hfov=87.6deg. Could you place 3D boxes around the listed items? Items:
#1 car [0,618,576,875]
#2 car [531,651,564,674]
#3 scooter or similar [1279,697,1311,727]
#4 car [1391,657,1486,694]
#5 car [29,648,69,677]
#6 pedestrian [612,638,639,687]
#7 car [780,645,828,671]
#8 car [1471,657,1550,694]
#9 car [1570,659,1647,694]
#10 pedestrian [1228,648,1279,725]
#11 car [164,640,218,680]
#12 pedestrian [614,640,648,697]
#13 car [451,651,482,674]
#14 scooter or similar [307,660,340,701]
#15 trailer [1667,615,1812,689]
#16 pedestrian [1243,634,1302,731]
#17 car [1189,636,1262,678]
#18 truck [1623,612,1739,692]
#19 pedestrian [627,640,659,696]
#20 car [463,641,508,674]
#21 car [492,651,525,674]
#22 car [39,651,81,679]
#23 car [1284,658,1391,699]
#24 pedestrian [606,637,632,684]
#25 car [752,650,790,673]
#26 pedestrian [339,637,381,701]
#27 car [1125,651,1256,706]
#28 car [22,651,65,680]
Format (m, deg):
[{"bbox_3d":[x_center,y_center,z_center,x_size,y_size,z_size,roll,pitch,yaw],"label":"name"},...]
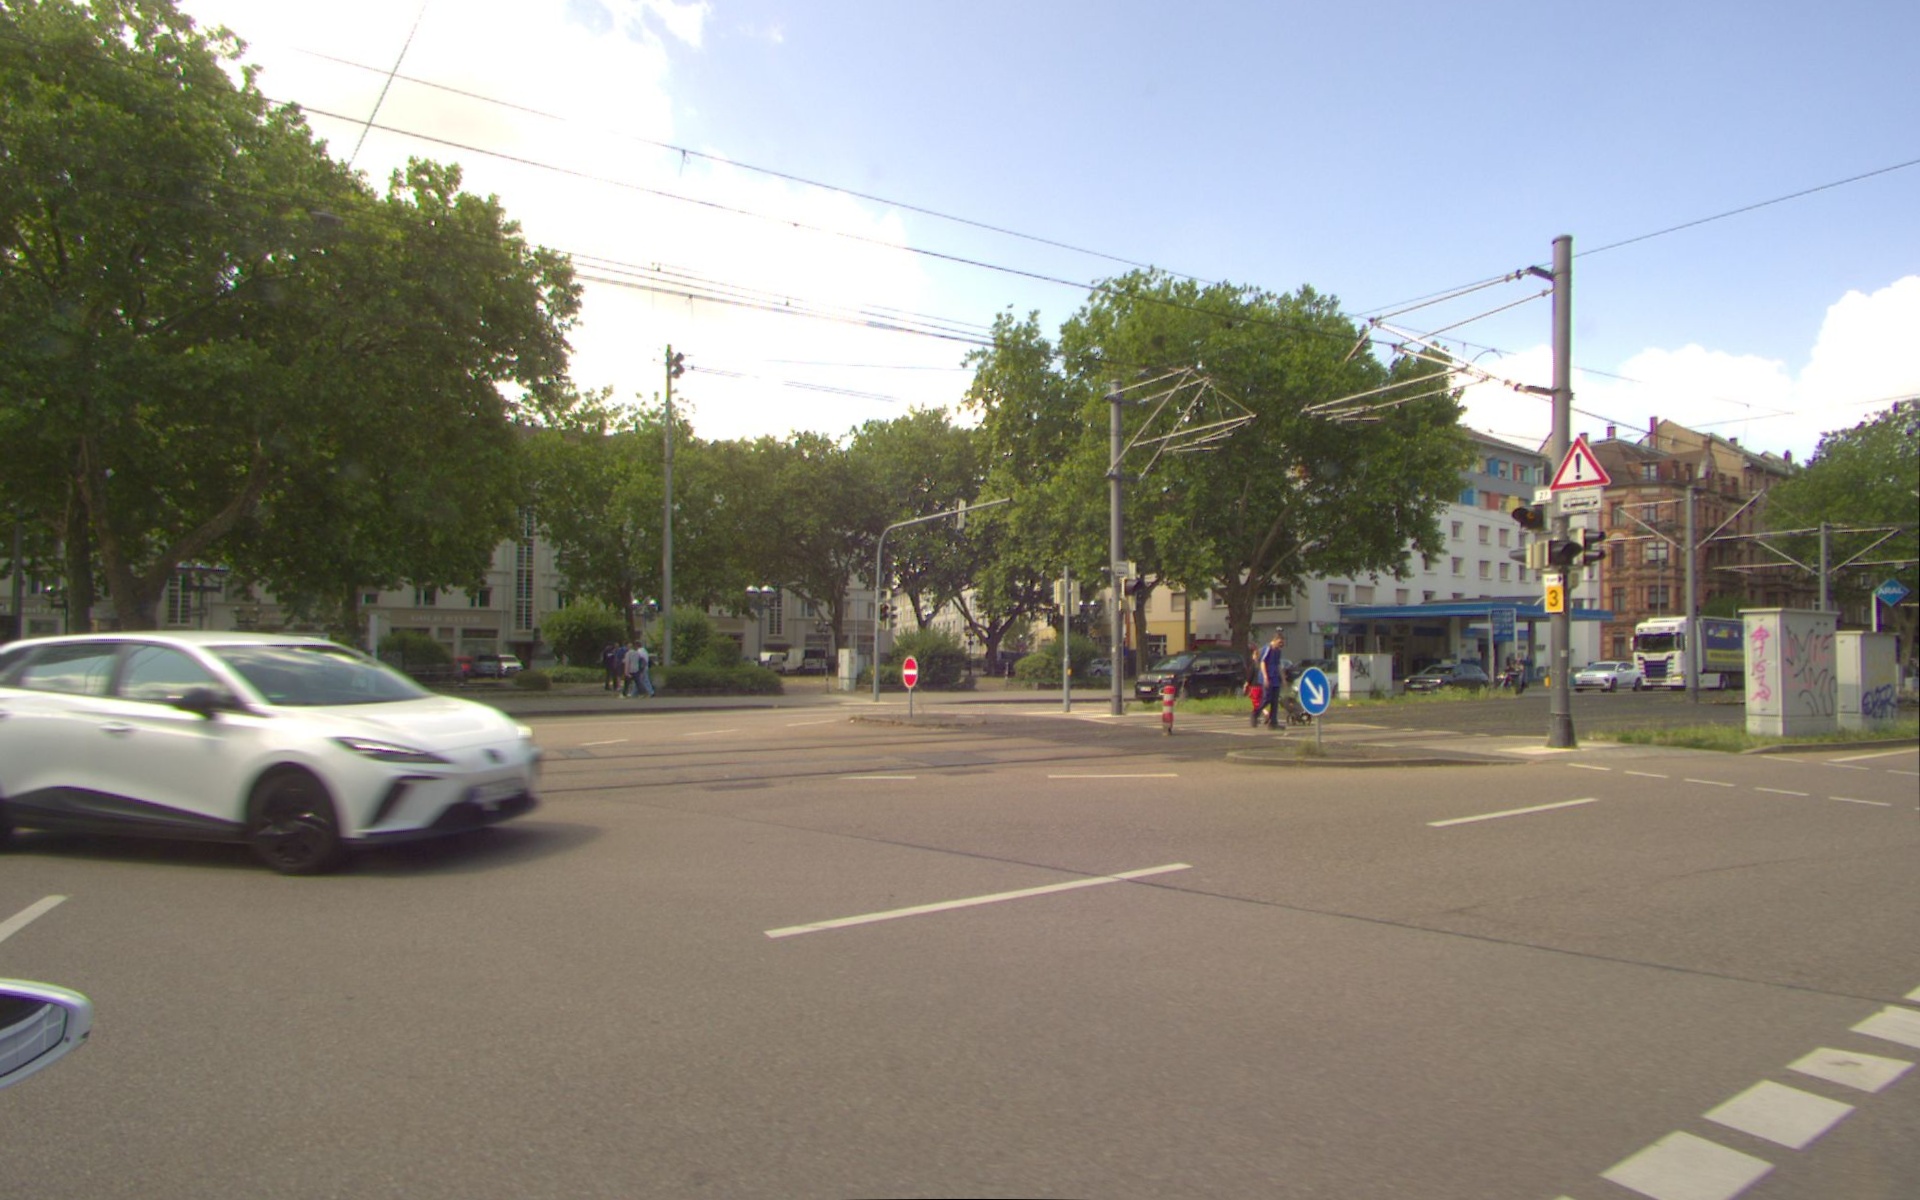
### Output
[{"bbox_3d":[-5.163,0.929,7.309,4.053,1.524,1.821,0,-3,12],"label":"car"},{"bbox_3d":[-31.313,4.719,75.942,1.720,1.657,3.980,2,-3,-31],"label":"car"},{"bbox_3d":[6.642,2.218,19.853,0.516,0.542,0.308,1,-2,45],"label":"scooter or similar"},{"bbox_3d":[20.395,3.198,42.663,3.920,1.464,1.844,2,-3,-32],"label":"car"},{"bbox_3d":[-55.046,3.783,60.547,1.453,1.686,3.045,2,-4,-37],"label":"car"},{"bbox_3d":[-12.282,2.307,36.786,0.597,1.772,0.695,-1,-2,33],"label":"pedestrian"},{"bbox_3d":[-11.931,4.402,76.280,2.075,1.929,4.468,2,-3,-31],"label":"car"},{"bbox_3d":[25.443,3.467,46.246,3.704,1.582,1.676,3,-3,-33],"label":"car"},{"bbox_3d":[33.547,3.942,51.792,4.079,1.726,1.844,2,-3,-33],"label":"car"},{"bbox_3d":[5.982,1.748,20.402,0.768,1.510,0.652,-2,-4,44],"label":"pedestrian"},{"bbox_3d":[-42.671,3.344,55.652,1.974,2.101,3.978,2,-4,-32],"label":"car"},{"bbox_3d":[-10.343,2.146,31.475,0.683,1.744,0.716,-1,-2,33],"label":"pedestrian"},{"bbox_3d":[-36.003,4.543,72.991,1.720,1.657,3.980,2,-3,-31],"label":"car"},{"bbox_3d":[-16.672,2.106,26.250,0.699,1.069,0.488,2,-3,-32],"label":"scooter or similar"},{"bbox_3d":[46.642,3.127,59.753,11.491,4.128,2.903,2,-3,-31],"label":"trailer"},{"bbox_3d":[5.791,1.517,18.575,0.734,1.753,0.767,2,-2,-34],"label":"pedestrian"},{"bbox_3d":[15.881,3.402,59.865,3.947,2.450,2.101,2,-3,-33],"label":"car"},{"bbox_3d":[40.255,2.911,55.890,6.499,4.200,2.903,2,-3,-31],"label":"truck"},{"bbox_3d":[-10.245,2.179,32.377,0.683,1.786,0.667,-1,-2,33],"label":"pedestrian"},{"bbox_3d":[-30.451,3.701,64.278,1.975,2.038,3.975,2,-4,-35],"label":"car"},{"bbox_3d":[-33.614,4.632,74.490,1.720,1.657,3.980,2,-3,-31],"label":"car"},{"bbox_3d":[-46.953,3.387,52.279,1.454,1.406,3.210,3,-4,-40],"label":"car"},{"bbox_3d":[14.632,3.029,38.784,4.271,1.484,1.724,3,-3,-33],"label":"car"},{"bbox_3d":[-12.976,2.291,38.080,0.597,1.772,0.695,-1,-2,33],"label":"pedestrian"},{"bbox_3d":[-16.306,5.292,86.318,1.973,1.988,3.980,2,-3,-31],"label":"car"},{"bbox_3d":[-15.977,1.829,26.673,0.910,1.666,0.567,2,-3,-32],"label":"pedestrian"},{"bbox_3d":[7.922,2.650,34.308,4.360,1.748,1.844,2,-3,-32],"label":"car"},{"bbox_3d":[-44.861,3.191,49.040,1.455,1.406,3.040,3,-4,-42],"label":"car"}]
